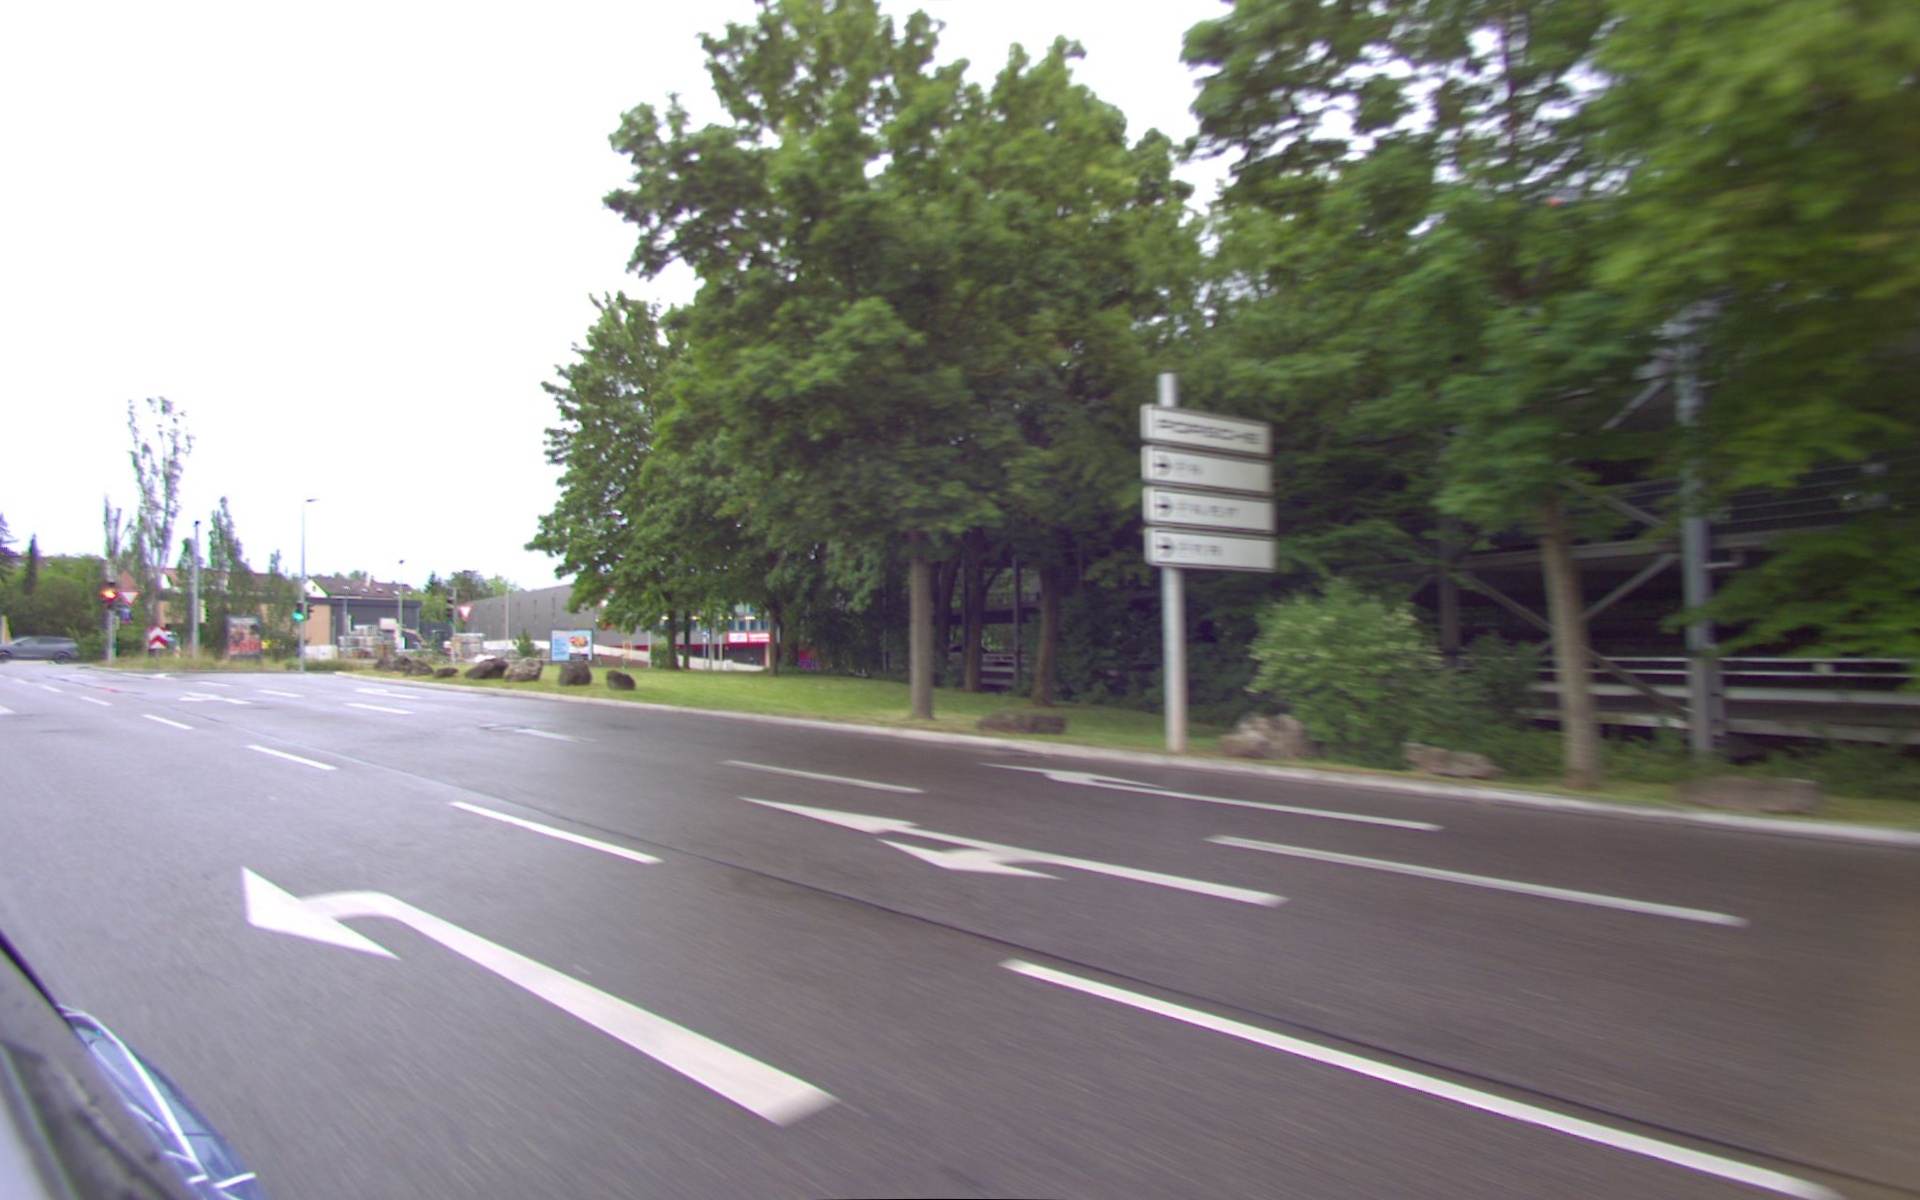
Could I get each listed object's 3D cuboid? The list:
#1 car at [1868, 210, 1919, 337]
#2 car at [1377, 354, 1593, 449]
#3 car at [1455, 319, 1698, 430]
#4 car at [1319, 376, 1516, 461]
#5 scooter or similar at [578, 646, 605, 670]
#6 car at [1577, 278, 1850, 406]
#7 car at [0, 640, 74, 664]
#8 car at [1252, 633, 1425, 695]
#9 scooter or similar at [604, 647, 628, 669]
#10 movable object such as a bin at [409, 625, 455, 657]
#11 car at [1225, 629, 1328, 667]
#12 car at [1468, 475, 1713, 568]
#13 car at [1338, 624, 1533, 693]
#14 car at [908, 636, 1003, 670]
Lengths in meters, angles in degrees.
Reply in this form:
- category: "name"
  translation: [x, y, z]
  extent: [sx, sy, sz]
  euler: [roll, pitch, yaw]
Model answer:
- category: "car"
  translation: [15.196, -4.679, 14.191]
  extent: [3.931, 1.530, 2.006]
  euler: [-2, -1, -21]
- category: "car"
  translation: [11.446, -4.263, 22.108]
  extent: [3.931, 1.530, 2.006]
  euler: [-2, -1, -21]
- category: "car"
  translation: [12.097, -4.348, 19.903]
  extent: [3.931, 1.530, 2.006]
  euler: [-2, -1, -21]
- category: "car"
  translation: [10.883, -4.250, 24.125]
  extent: [3.931, 1.530, 2.006]
  euler: [-2, -1, -21]
- category: "scooter or similar"
  translation: [-20.755, 3.273, 57.059]
  extent: [0.548, 1.269, 1.341]
  euler: [-2, -5, 35]
- category: "car"
  translation: [13.325, -4.468, 17.942]
  extent: [3.931, 1.530, 2.006]
  euler: [-2, -1, -21]
- category: "car"
  translation: [-55.277, 3.090, 60.094]
  extent: [3.980, 1.415, 1.842]
  euler: [2, -4, -42]
- category: "car"
  translation: [9.928, 1.655, 26.593]
  extent: [3.930, 1.530, 2.006]
  euler: [2, -2, -22]
- category: "scooter or similar"
  translation: [-19.748, 3.343, 58.098]
  extent: [0.516, 1.269, 1.211]
  euler: [-2, -5, 35]
- category: "movable object such as a bin"
  translation: [-46.140, 3.597, 88.405]
  extent: [1.927, 2.647, 2.958]
  euler: [-3, -6, 41]
- category: "car"
  translation: [13.512, 2.043, 43.201]
  extent: [3.931, 1.530, 2.006]
  euler: [2, -3, -27]
- category: "car"
  translation: [12.279, -1.509, 19.761]
  extent: [3.931, 1.530, 2.006]
  euler: [-2, -1, -21]
- category: "car"
  translation: [11.245, 1.376, 23.989]
  extent: [3.931, 1.530, 2.006]
  euler: [2, -2, -20]
- category: "car"
  translation: [-0.233, 2.447, 47.047]
  extent: [3.930, 1.530, 2.006]
  euler: [2, -2, -21]
